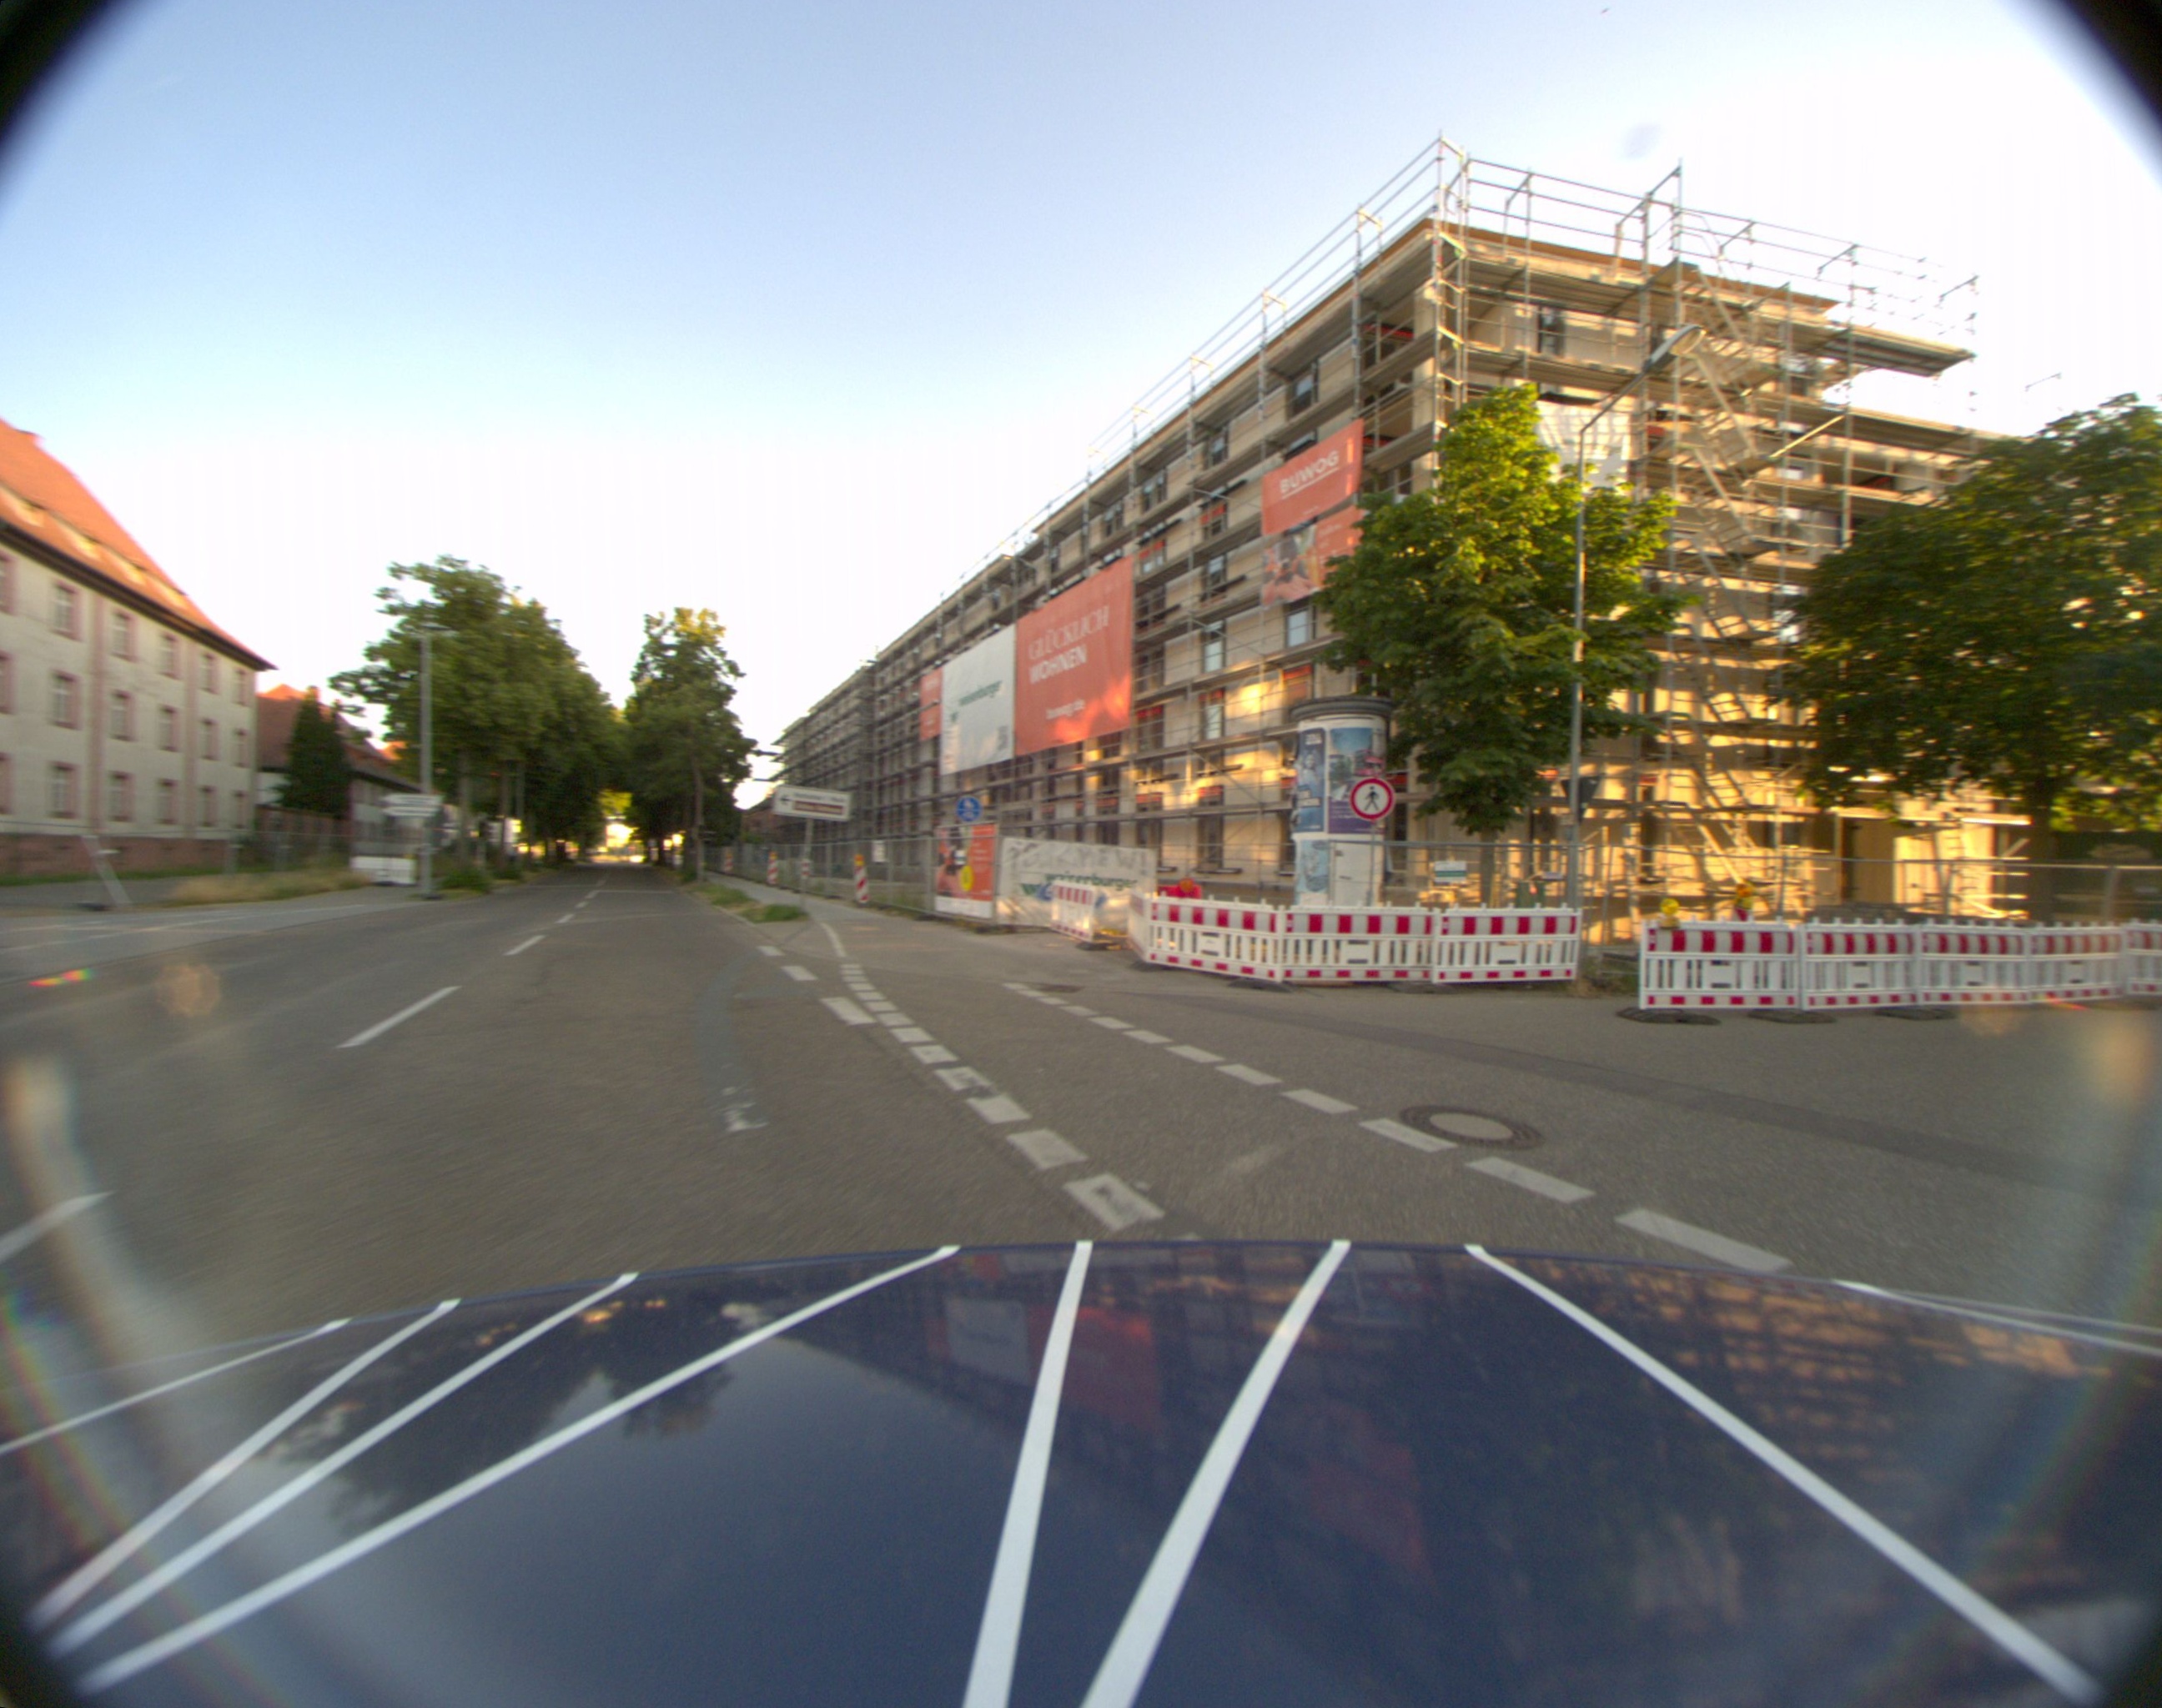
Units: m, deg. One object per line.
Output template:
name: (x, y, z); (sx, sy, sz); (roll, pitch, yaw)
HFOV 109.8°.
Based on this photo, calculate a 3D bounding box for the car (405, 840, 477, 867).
car: (-48.316, -0.034, 57.496); (4.008, 2.002, 1.994); (1, 0, -35)

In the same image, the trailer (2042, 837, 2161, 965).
trailer: (23.366, 0.968, 16.132); (4.187, 2.525, 1.998); (1, 0, -12)
